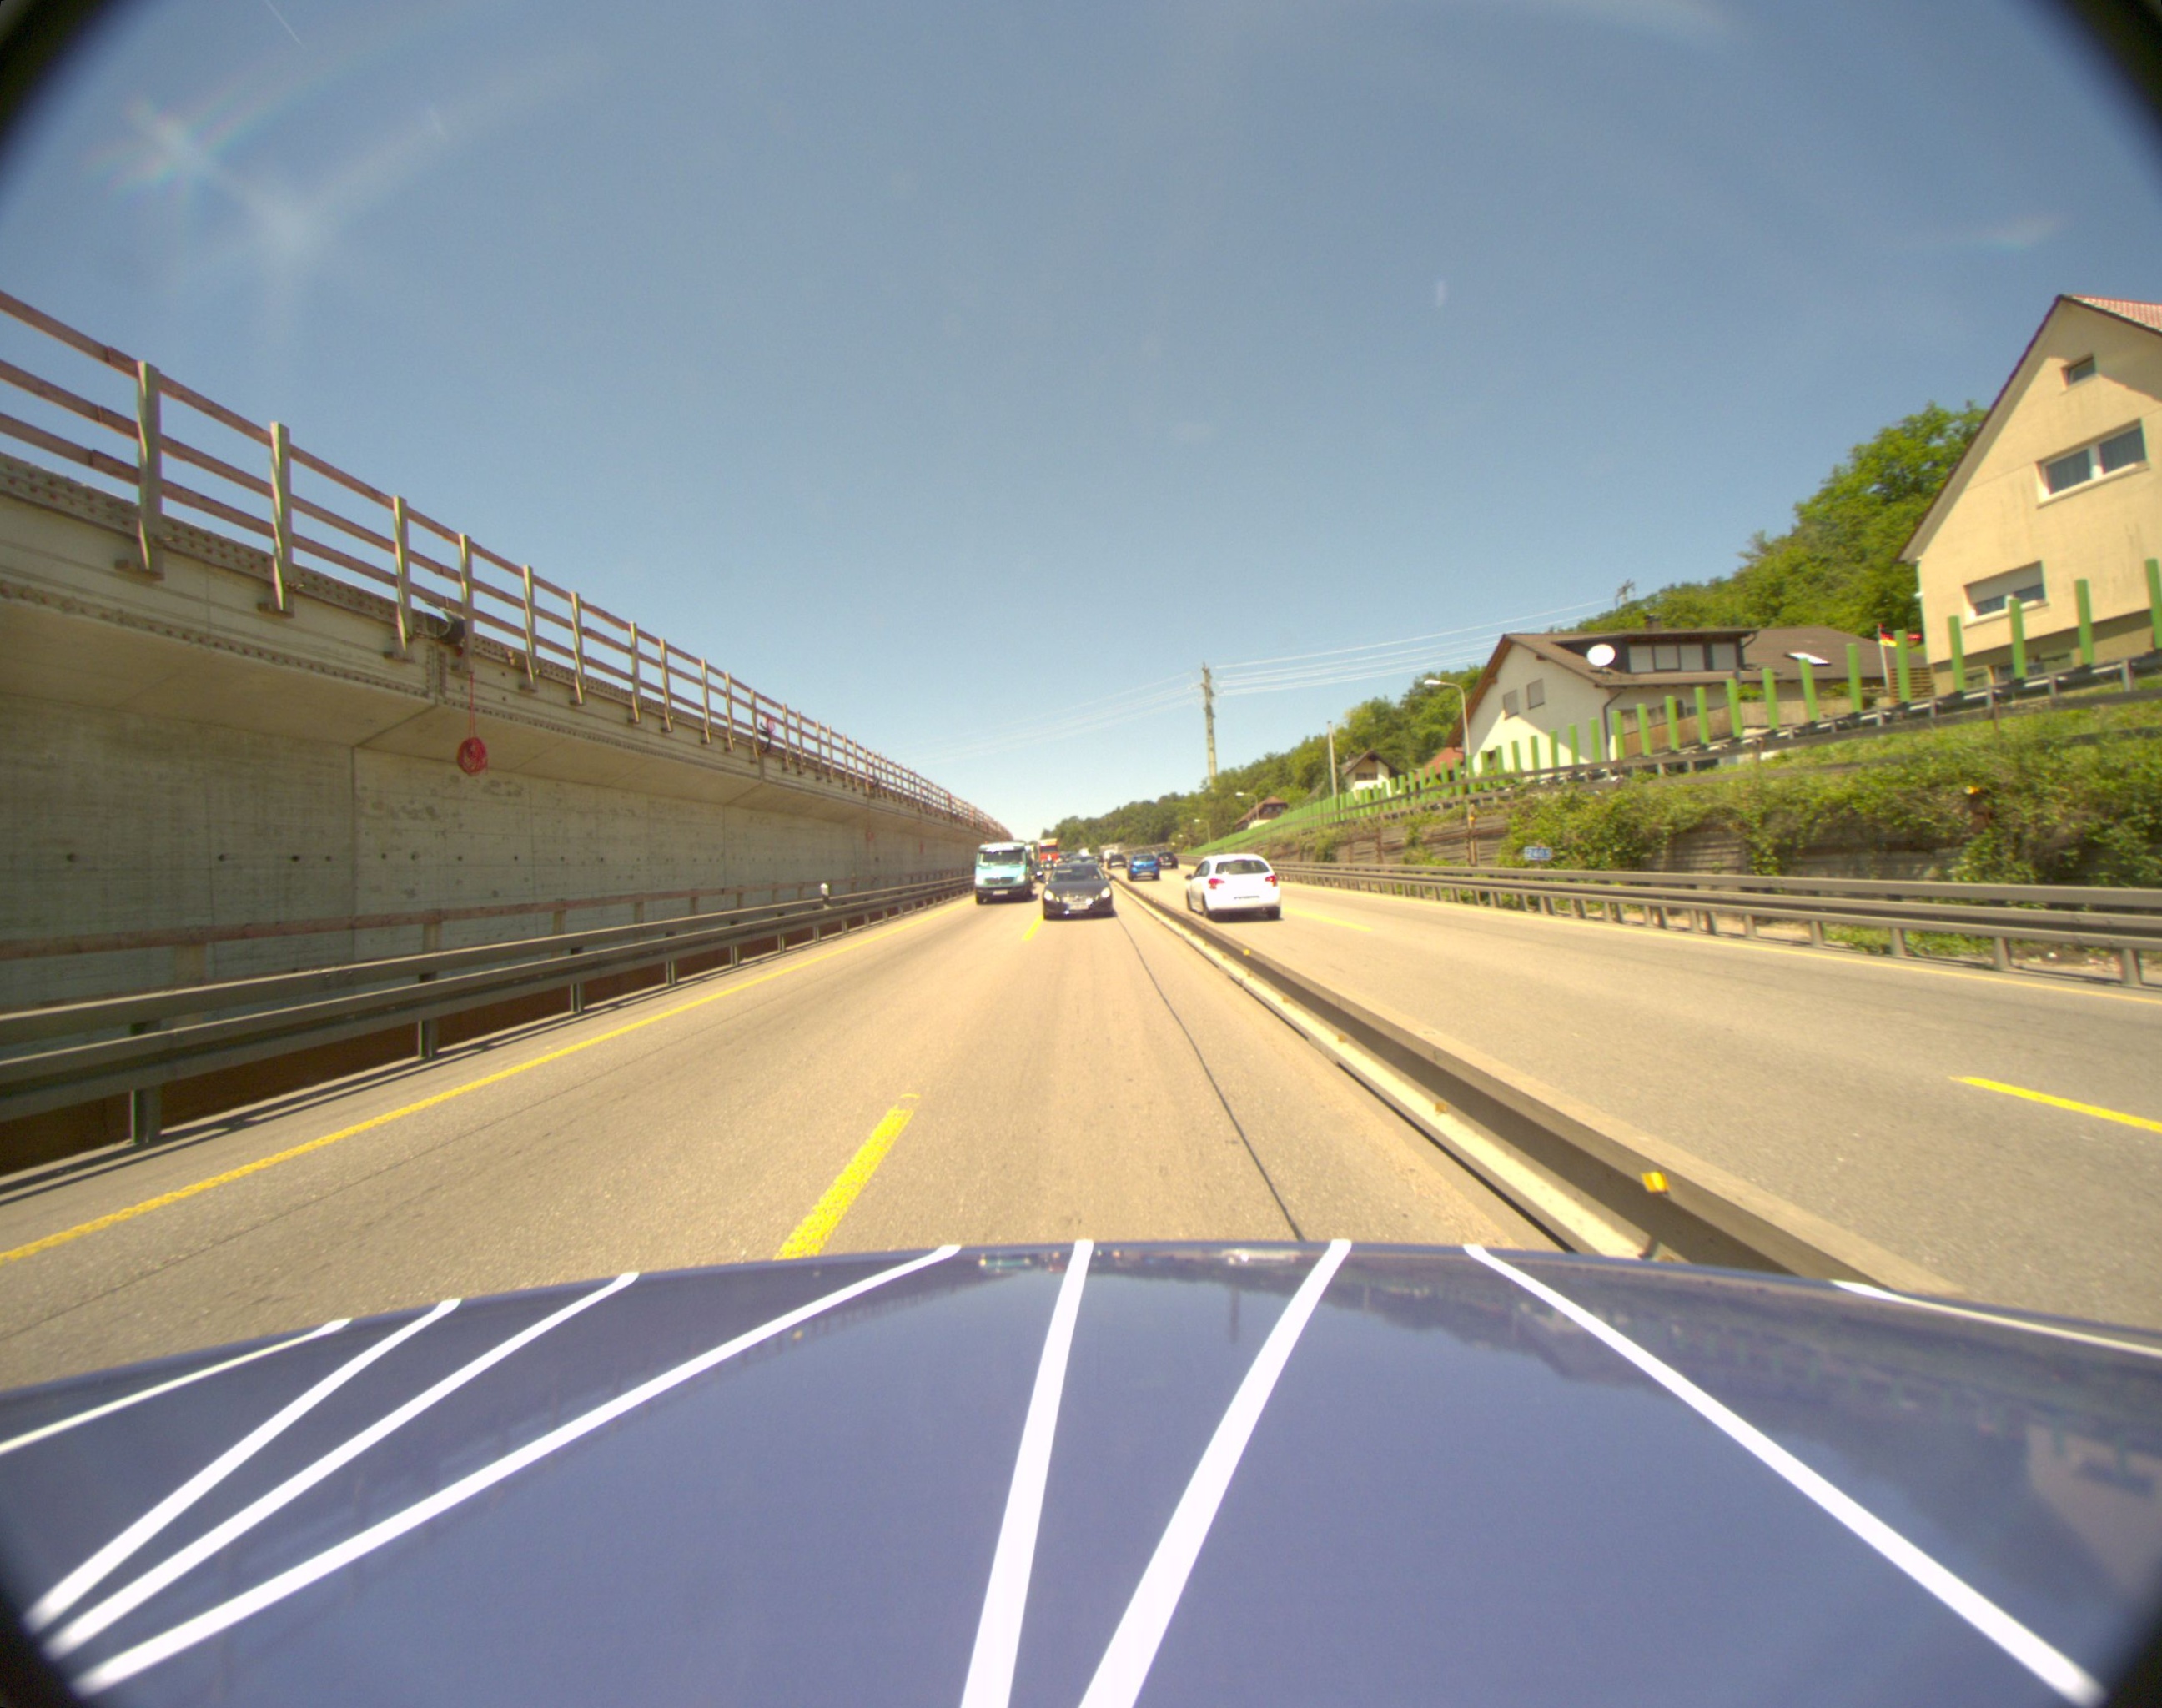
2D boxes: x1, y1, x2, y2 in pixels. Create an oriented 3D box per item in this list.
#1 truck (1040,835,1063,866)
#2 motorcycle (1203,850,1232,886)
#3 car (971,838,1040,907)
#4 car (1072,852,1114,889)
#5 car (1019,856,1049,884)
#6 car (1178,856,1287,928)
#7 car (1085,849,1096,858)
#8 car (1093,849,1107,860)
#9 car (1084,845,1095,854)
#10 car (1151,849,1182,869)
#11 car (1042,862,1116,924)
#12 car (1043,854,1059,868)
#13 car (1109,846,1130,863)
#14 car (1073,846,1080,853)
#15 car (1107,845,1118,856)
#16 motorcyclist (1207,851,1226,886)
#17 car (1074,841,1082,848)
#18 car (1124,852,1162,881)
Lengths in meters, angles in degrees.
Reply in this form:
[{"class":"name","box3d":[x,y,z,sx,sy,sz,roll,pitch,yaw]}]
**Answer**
[{"class":"truck","box3d":[-4.243,-0.497,109.079,2.651,3.978,11.192,-6,1,-2]},{"class":"motorcycle","box3d":[6.272,0.641,35.108,0.792,1.542,2.621,-3,0,0]},{"class":"car","box3d":[-2.921,0.638,31.121,1.968,2.367,7.209,-5,0,0]},{"class":"car","box3d":[0.577,0.811,40.291,1.860,1.650,3.999,-6,1,-2]},{"class":"car","box3d":[-3.287,1.094,53.857,1.860,1.650,3.998,-6,1,-2]},{"class":"car","box3d":[3.528,0.819,18.385,1.771,1.477,3.865,-2,0,-1]},{"class":"car","box3d":[1.746,-0.138,135.318,1.737,1.429,4.257,-4,1,-1]},{"class":"car","box3d":[2.769,0.007,111.587,1.610,1.438,4.668,-3,1,-2]},{"class":"car","box3d":[1.929,-1.070,178.016,1.830,1.914,5.241,-4,0,-5]},{"class":"car","box3d":[7.019,0.368,62.883,1.818,1.440,5.005,-4,1,-1]},{"class":"car","box3d":[-0.151,0.991,21.066,1.793,1.440,4.296,-2,0,-3]},{"class":"car","box3d":[-3.590,0.840,92.803,1.674,1.499,3.647,-6,1,0]},{"class":"car","box3d":[3.782,0.066,75.018,1.847,1.521,4.293,-3,1,0]},{"class":"car","box3d":[-1.260,-1.288,218.386,1.999,1.816,4.507,-1,0,-2]},{"class":"car","box3d":[5.354,-0.642,130.073,1.600,1.823,4.752,-2,1,0]},{"class":"motorcyclist","box3d":[6.273,0.649,35.175,0.667,1.576,0.736,-2,1,0]},{"class":"car","box3d":[-0.893,-2.659,217.401,1.998,2.002,4.000,-3,0,0]},{"class":"car","box3d":[3.614,0.703,44.734,1.768,1.601,3.891,-2,0,-1]}]
